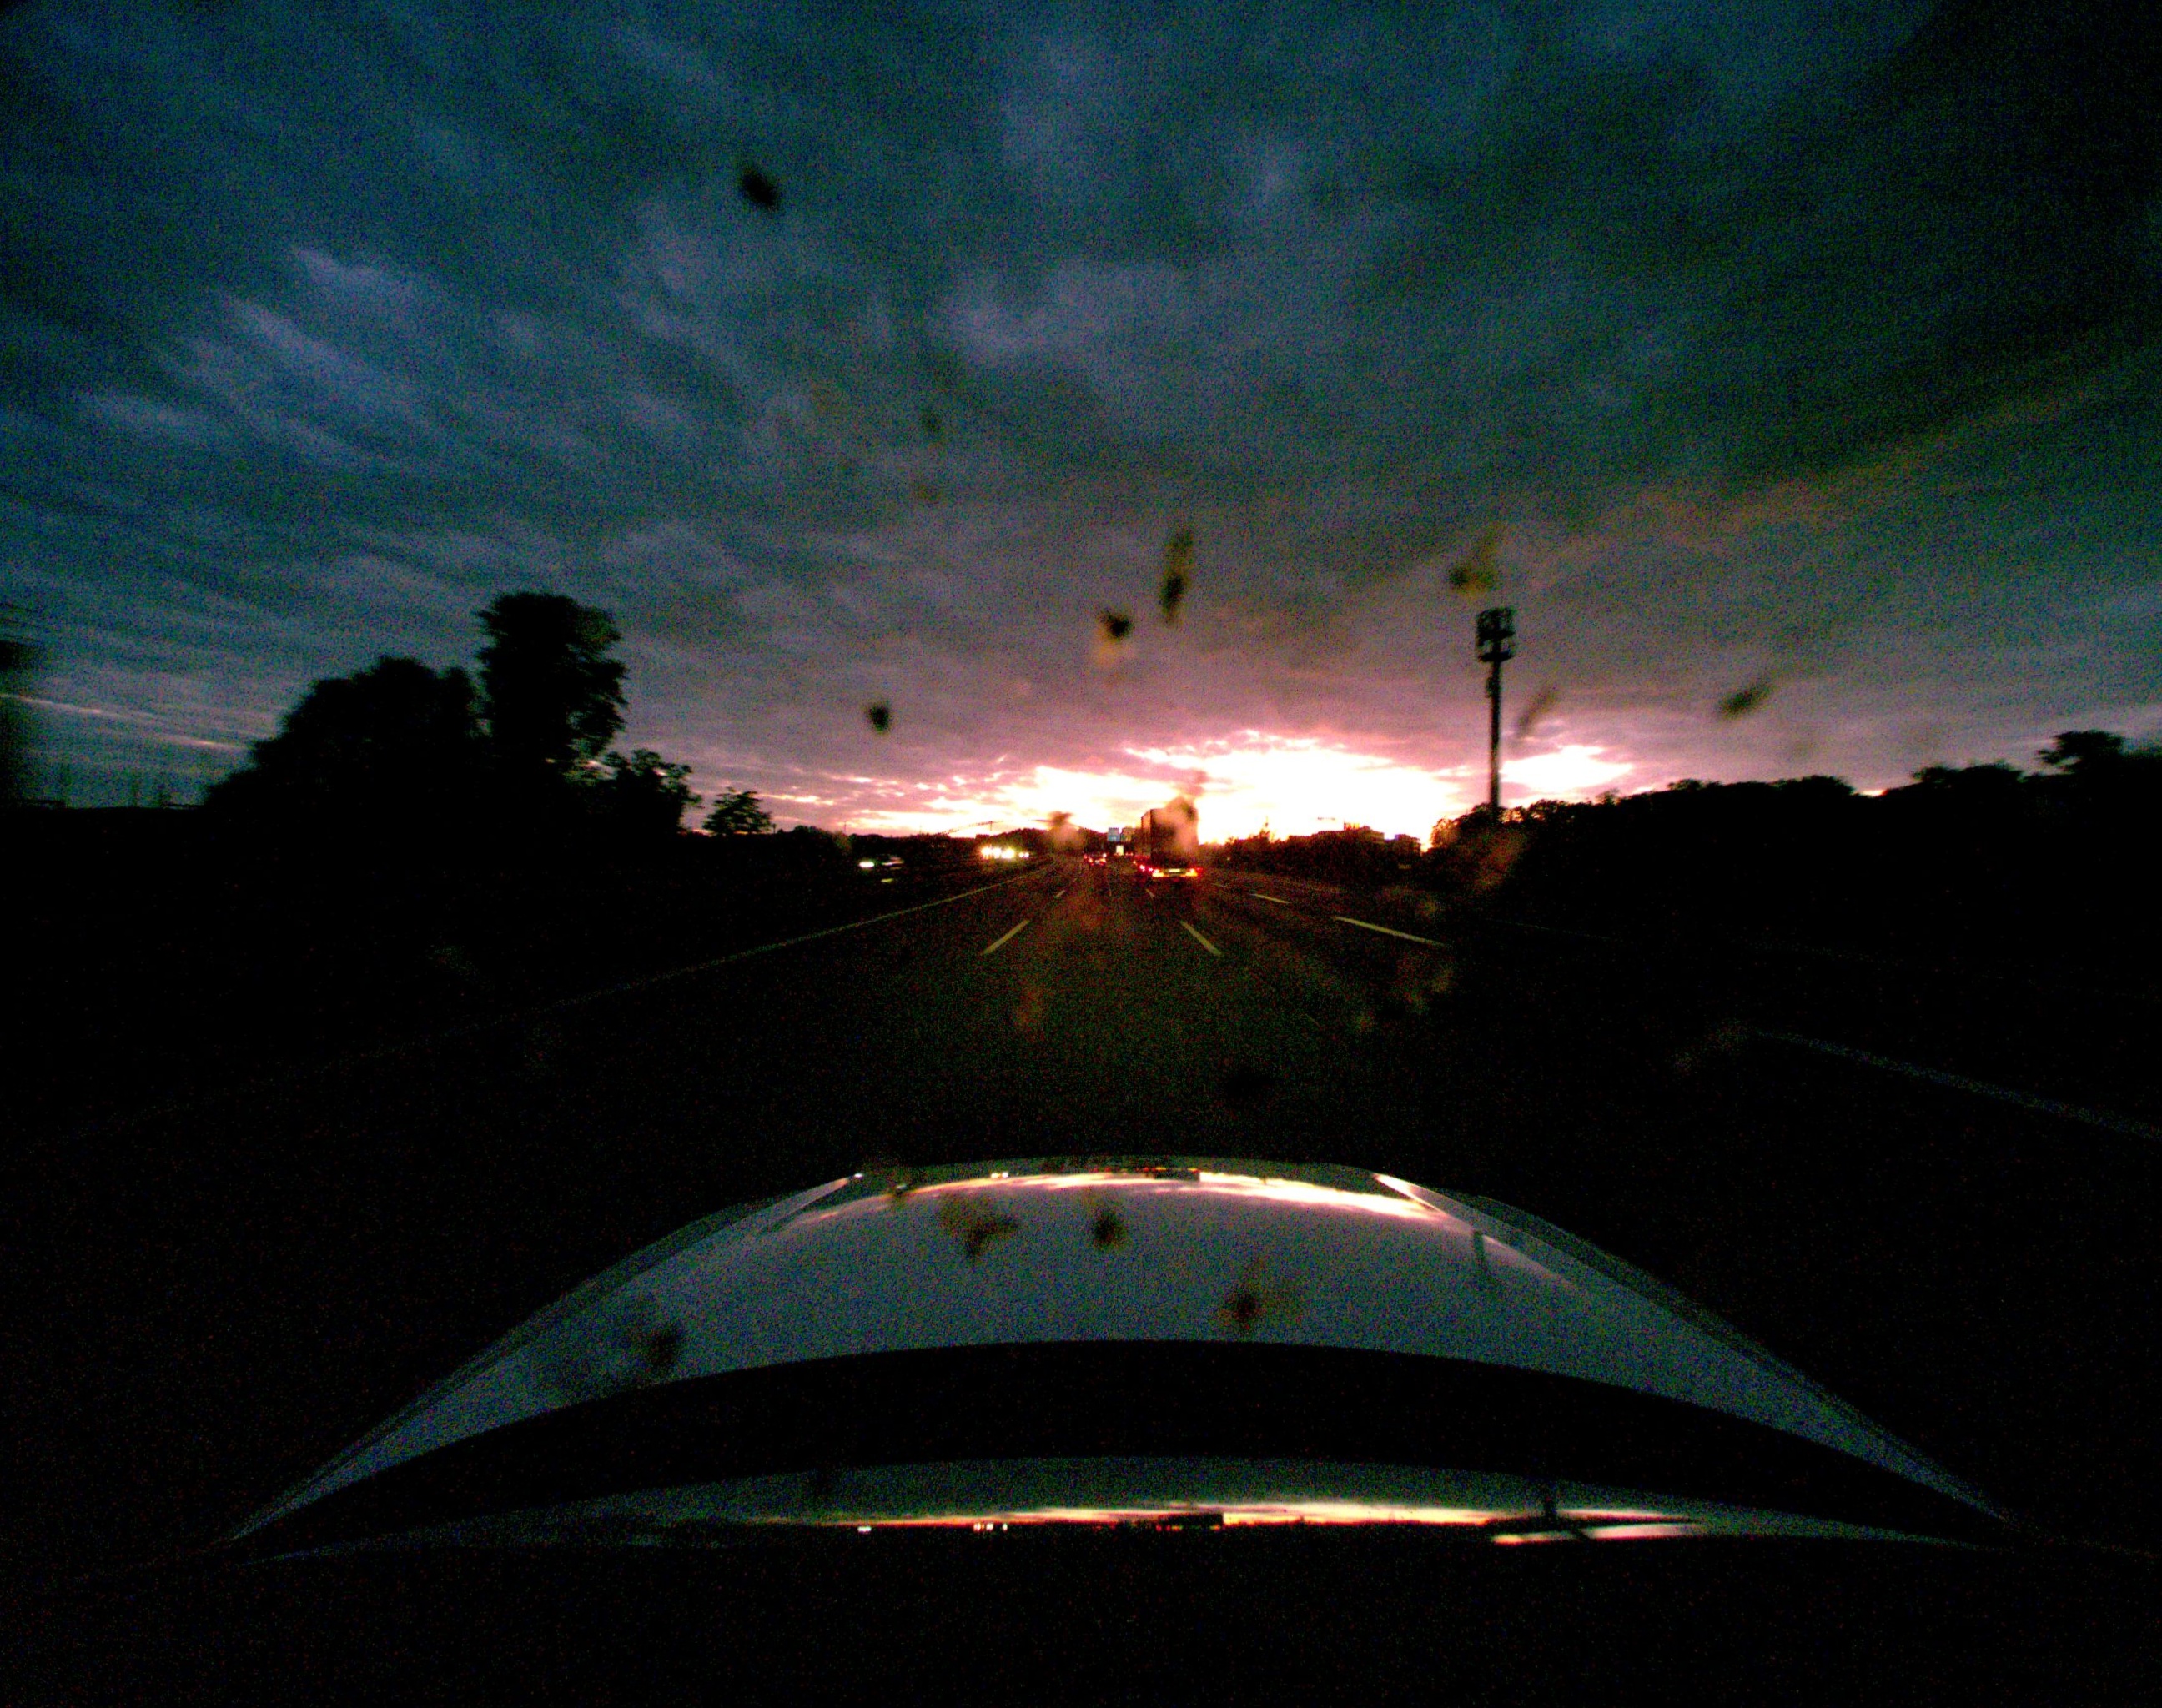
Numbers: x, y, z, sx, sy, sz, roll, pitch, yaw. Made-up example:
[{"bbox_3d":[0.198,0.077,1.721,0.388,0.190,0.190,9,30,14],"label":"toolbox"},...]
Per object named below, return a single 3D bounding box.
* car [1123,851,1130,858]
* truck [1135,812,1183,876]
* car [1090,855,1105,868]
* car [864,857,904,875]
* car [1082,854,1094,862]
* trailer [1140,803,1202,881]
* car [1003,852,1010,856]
[{"bbox_3d":[12.753,0.077,227.252,1.984,1.717,4.005,1,-2,5],"label":"car"},{"bbox_3d":[5.240,-0.646,56.551,2.680,4.071,10.524,0,0,2],"label":"truck"},{"bbox_3d":[1.808,0.843,89.782,1.684,1.401,3.408,0,-1,0],"label":"car"},{"bbox_3d":[-15.502,0.893,64.336,1.987,1.358,4.865,0,0,0],"label":"car"},{"bbox_3d":[1.231,0.694,142.197,1.681,1.401,3.414,-1,-2,6],"label":"car"},{"bbox_3d":[5.012,-0.615,46.890,2.712,4.071,8.832,0,0,1],"label":"trailer"},{"bbox_3d":[-19.949,-0.051,217.947,1.716,1.227,4.182,0,0,0],"label":"car"}]
